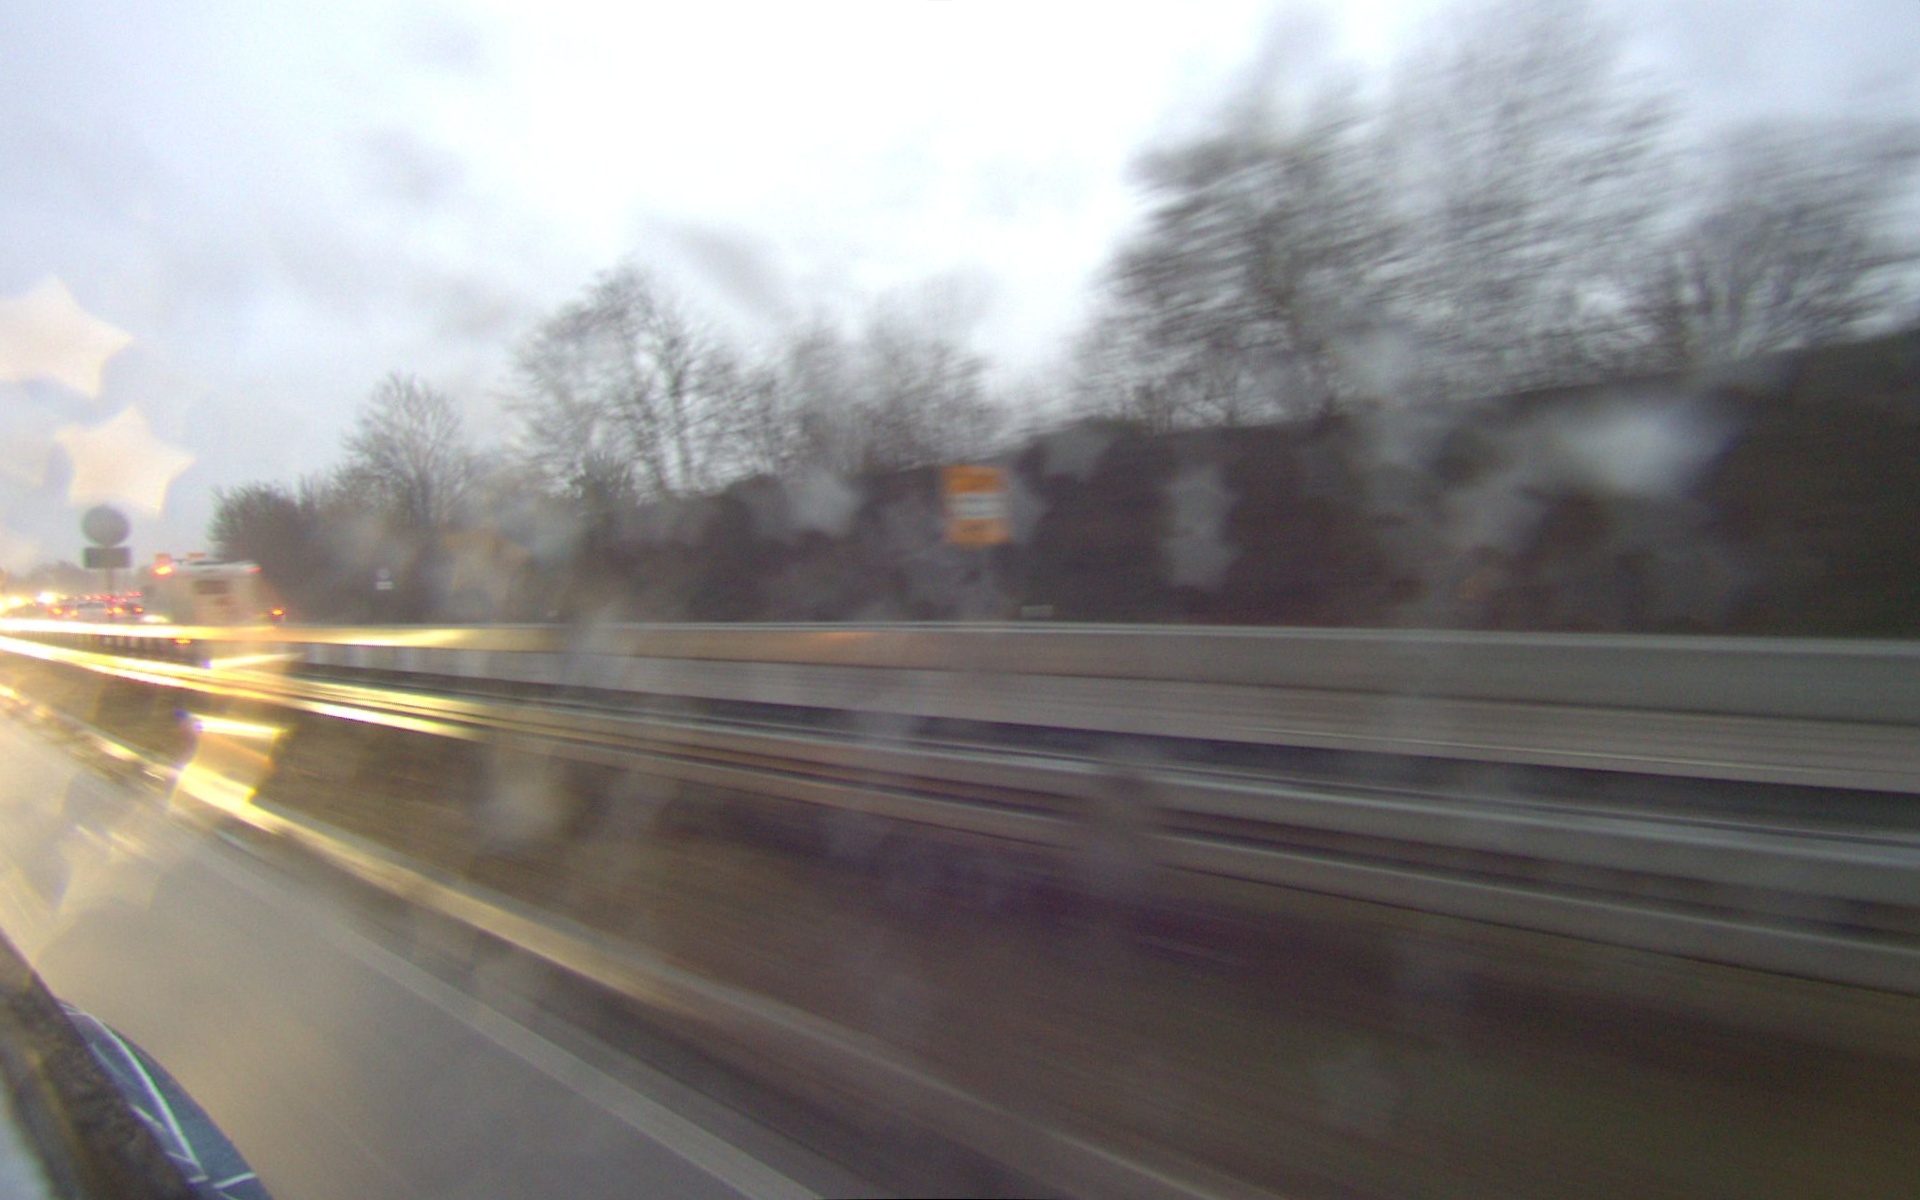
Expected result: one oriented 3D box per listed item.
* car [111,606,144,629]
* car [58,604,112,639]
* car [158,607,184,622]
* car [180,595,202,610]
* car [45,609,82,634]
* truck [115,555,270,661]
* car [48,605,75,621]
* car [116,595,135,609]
[{"bbox_3d":[-69.162,1.420,84.005,1.673,1.678,4.436,-3,3,-45],"label":"car"},{"bbox_3d":[-52.548,1.257,60.737,5.121,1.844,1.965,0,3,44],"label":"car"},{"bbox_3d":[-87.393,1.608,112.101,1.841,1.550,4.117,-3,3,-43],"label":"car"},{"bbox_3d":[-102.416,0.363,134.763,1.858,1.846,4.792,-3,3,-43],"label":"car"},{"bbox_3d":[-67.871,1.609,76.626,4.001,1.696,1.747,0,3,44],"label":"car"},{"bbox_3d":[-26.111,0.190,34.269,7.727,3.184,2.686,0,2,42],"label":"truck"},{"bbox_3d":[-87.985,1.257,99.090,1.734,1.452,4.003,-3,3,-44],"label":"car"},{"bbox_3d":[-122.031,0.308,147.996,1.861,1.846,4.792,-3,3,-43],"label":"car"}]
